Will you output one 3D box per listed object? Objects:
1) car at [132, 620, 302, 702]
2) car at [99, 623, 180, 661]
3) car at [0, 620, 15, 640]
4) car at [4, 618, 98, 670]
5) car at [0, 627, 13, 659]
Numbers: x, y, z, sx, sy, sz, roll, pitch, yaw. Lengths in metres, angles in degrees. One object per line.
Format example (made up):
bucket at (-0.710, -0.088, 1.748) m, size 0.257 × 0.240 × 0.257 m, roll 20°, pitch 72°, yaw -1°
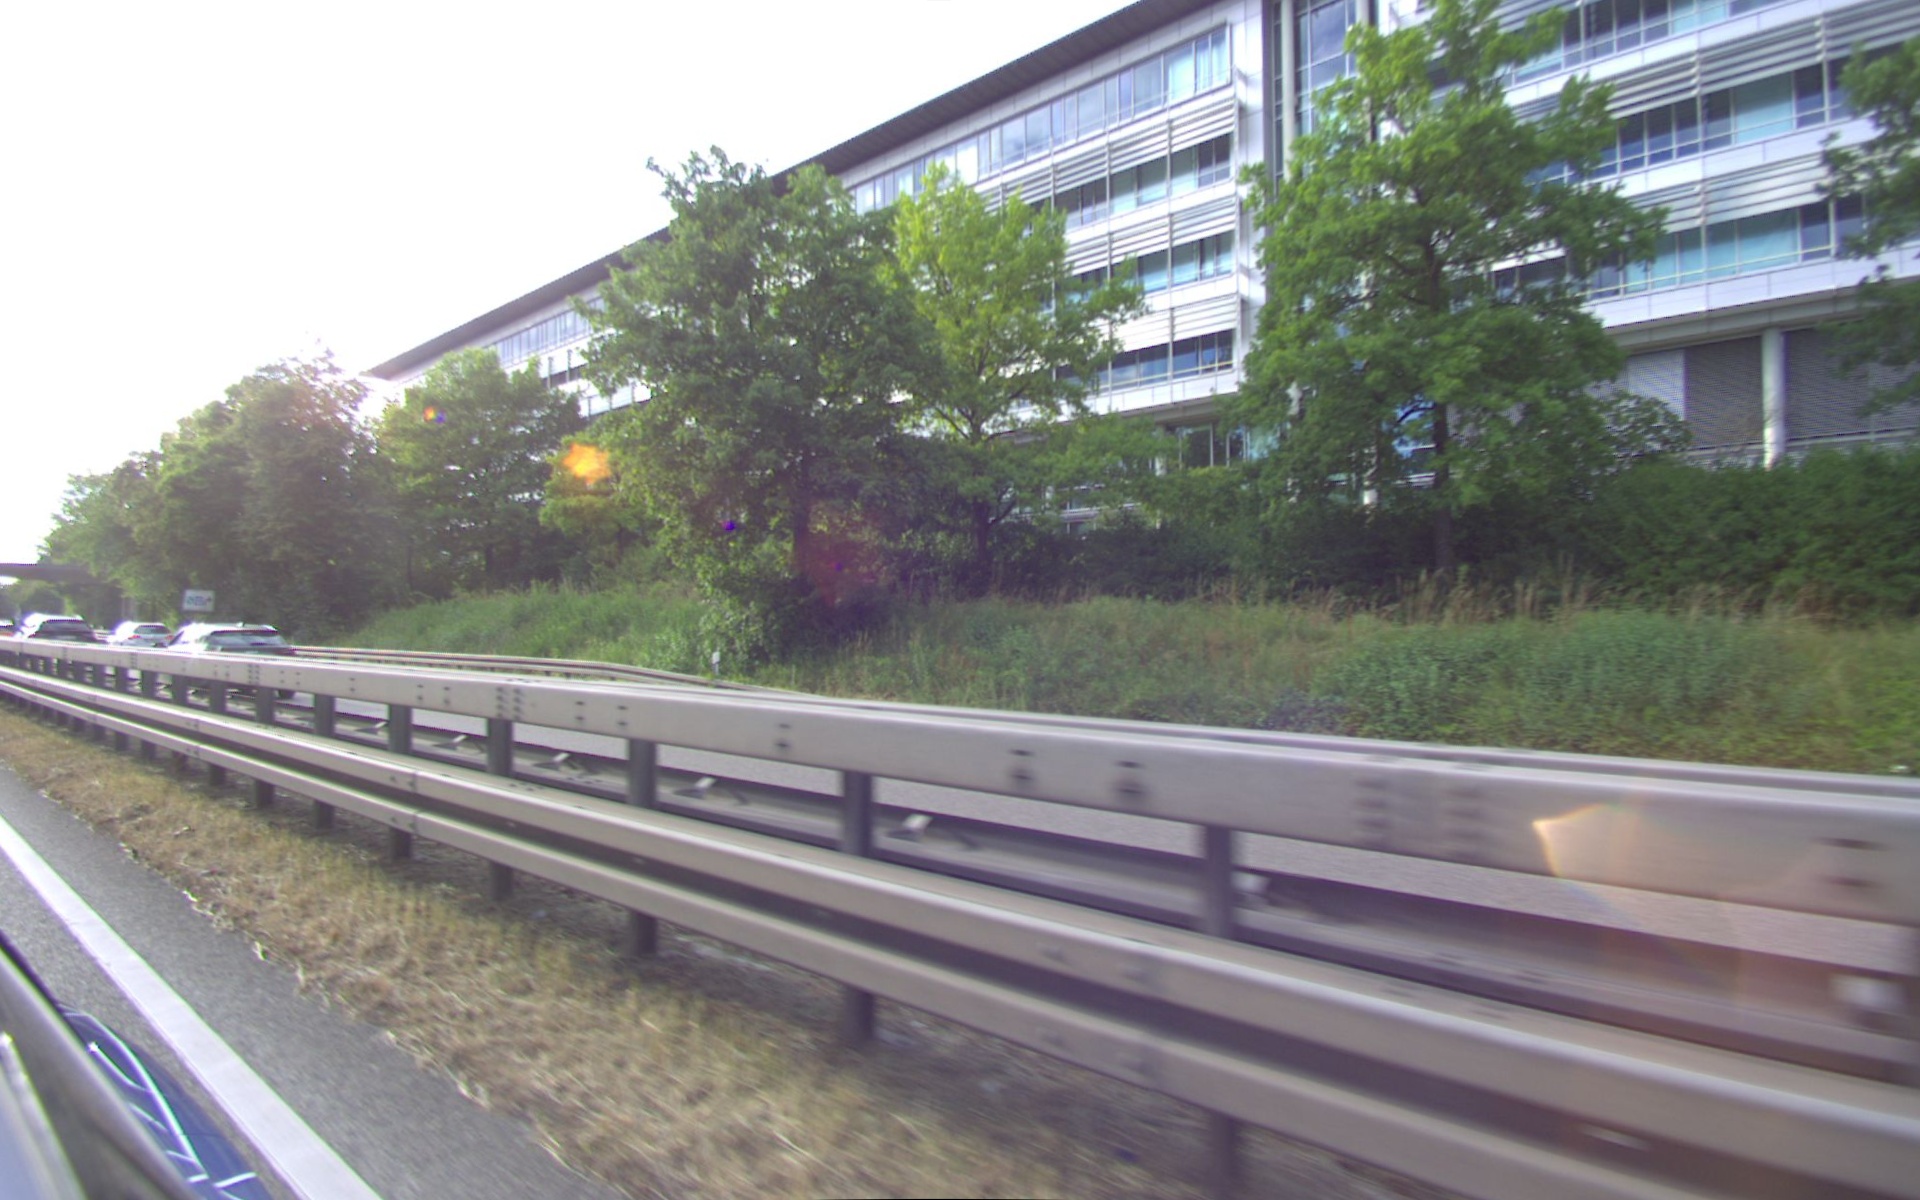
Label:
car at (-14.908, 1.167, 20.226) m, size 4.308 × 1.469 × 1.725 m, roll -1°, pitch -3°, yaw 40°
car at (-34.535, 1.761, 42.558) m, size 4.414 × 1.496 × 1.798 m, roll -2°, pitch -4°, yaw 40°
car at (-97.480, 3.042, 102.917) m, size 1.846 × 1.869 × 4.625 m, roll 6°, pitch -5°, yaw -44°
car at (-31.159, 1.455, 34.635) m, size 5.276 × 1.657 × 1.724 m, roll -1°, pitch -2°, yaw 41°
car at (-46.468, 2.015, 48.157) m, size 3.997 × 1.458 × 1.575 m, roll -1°, pitch -2°, yaw 41°
